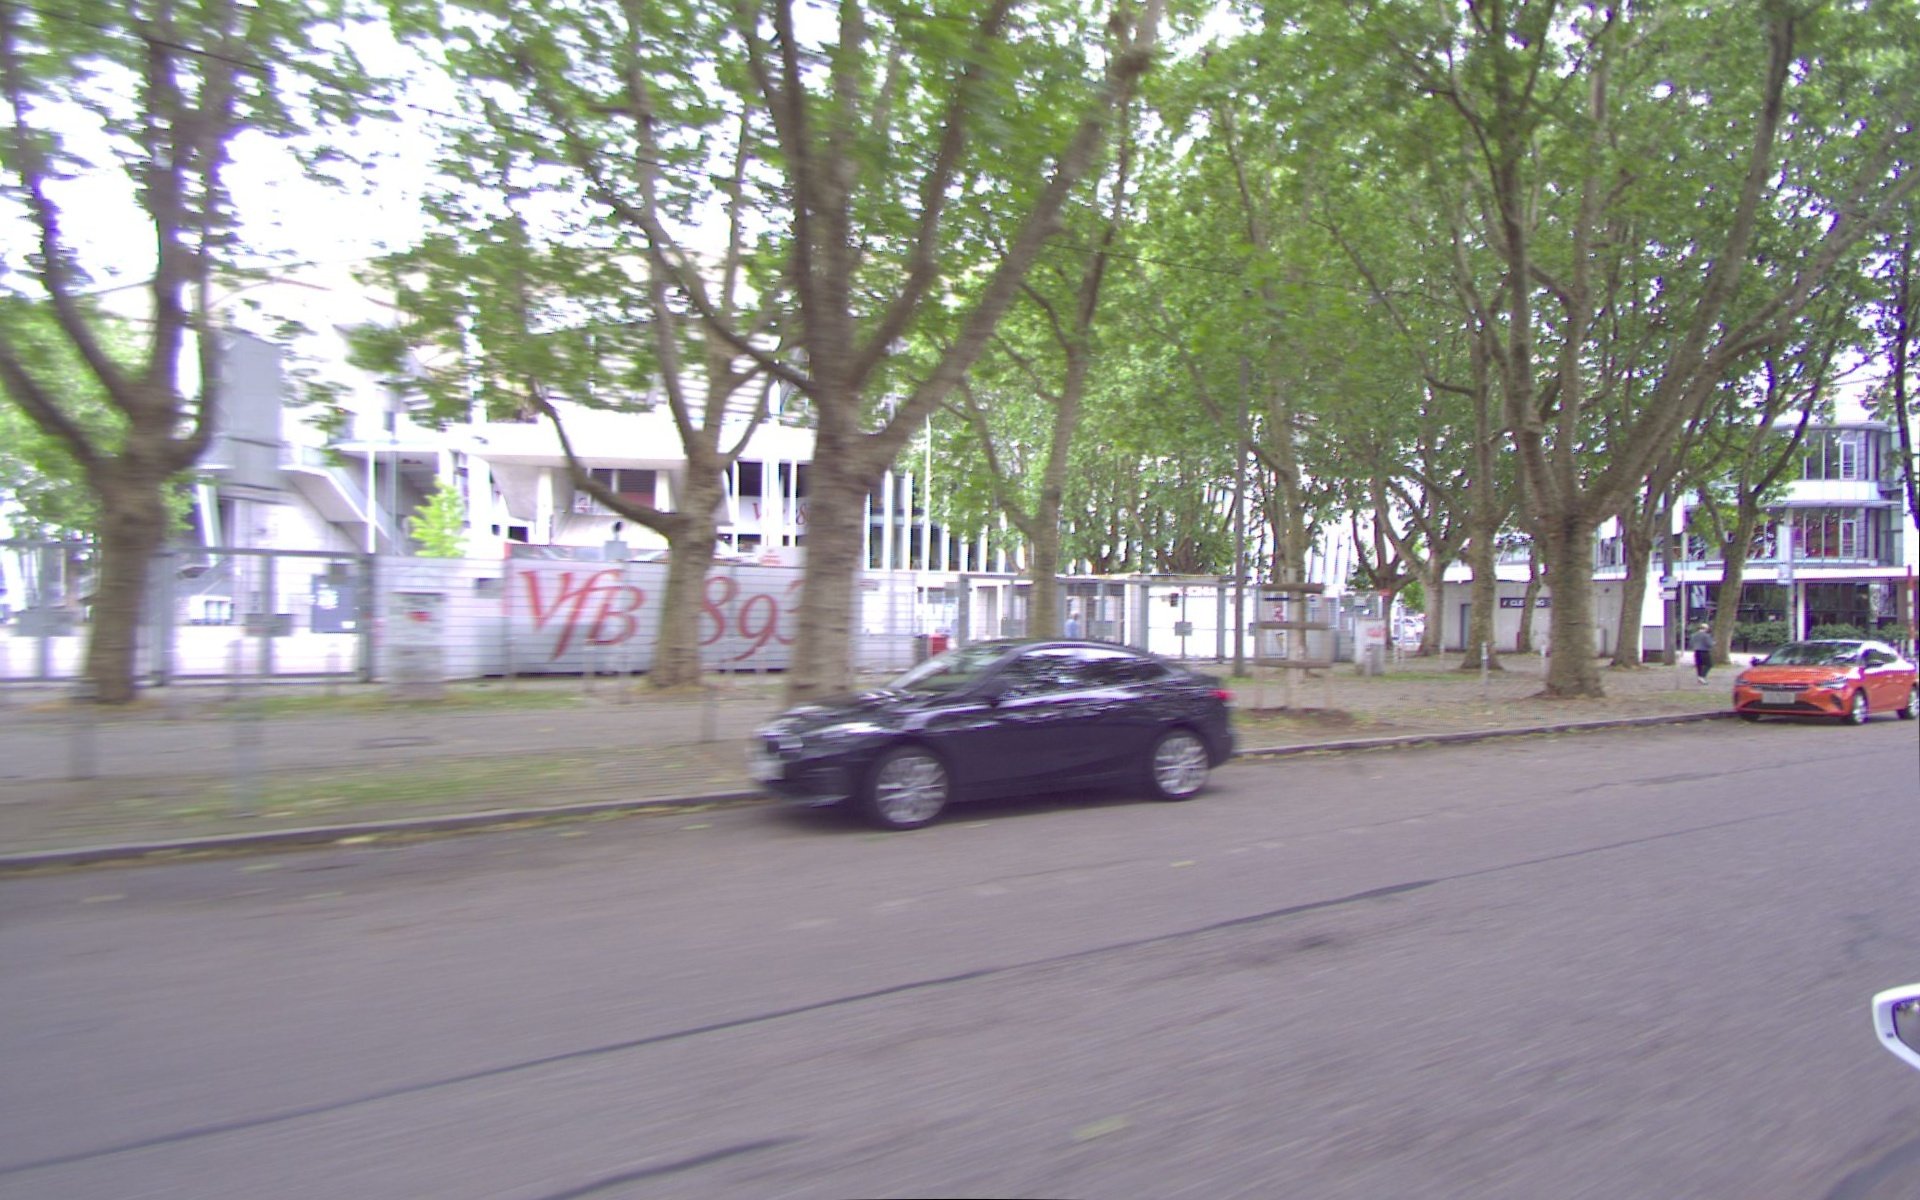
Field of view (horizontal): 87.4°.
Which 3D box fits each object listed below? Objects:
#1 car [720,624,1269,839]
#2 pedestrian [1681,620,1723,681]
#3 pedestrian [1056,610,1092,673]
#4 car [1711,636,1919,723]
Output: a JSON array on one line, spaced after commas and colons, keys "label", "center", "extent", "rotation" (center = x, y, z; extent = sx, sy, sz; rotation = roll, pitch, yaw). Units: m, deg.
[{"label": "car", "center": [0.385, 0.977, 8.862], "extent": [4.570, 1.485, 1.820], "rotation": [1, -2, -29]}, {"label": "pedestrian", "center": [20.351, 1.385, 27.551], "extent": [0.780, 1.641, 0.591], "rotation": [1, 0, -21]}, {"label": "pedestrian", "center": [2.909, 1.055, 25.636], "extent": [0.652, 1.564, 0.664], "rotation": [1, 0, -29]}, {"label": "car", "center": [15.557, 1.360, 18.161], "extent": [3.953, 1.372, 1.800], "rotation": [1, -1, -30]}]
